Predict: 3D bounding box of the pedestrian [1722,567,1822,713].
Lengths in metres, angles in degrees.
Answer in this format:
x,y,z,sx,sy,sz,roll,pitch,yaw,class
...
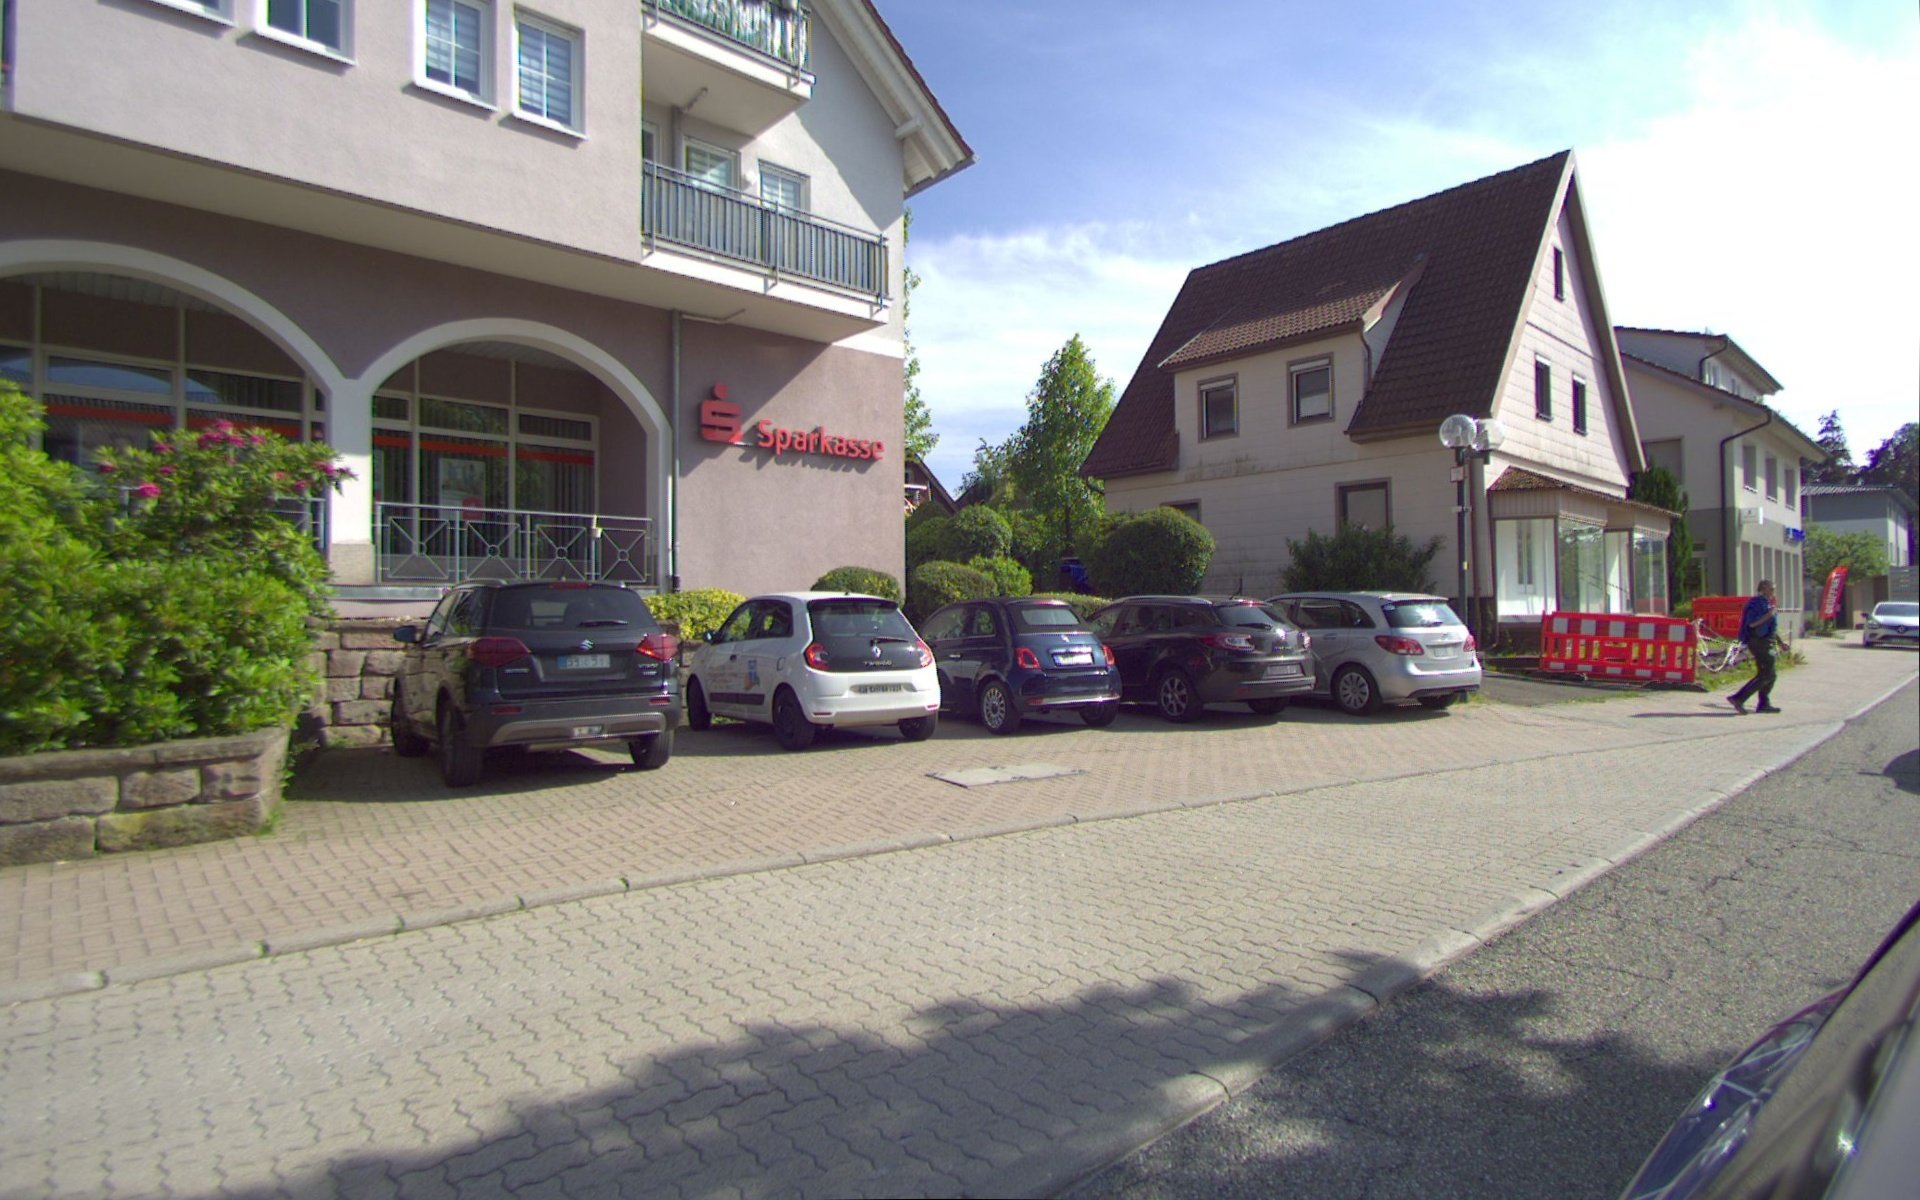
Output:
x,y,z,sx,sy,sz,roll,pitch,yaw,class
10.557,0.486,13.156,0.961,1.807,0.801,0,0,-38,pedestrian

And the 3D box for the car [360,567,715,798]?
x,y,z,sx,sy,sz,roll,pitch,yaw,class
-3.928,0.513,9.011,1.847,1.567,3.996,0,1,-39,car

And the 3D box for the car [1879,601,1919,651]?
x,y,z,sx,sy,sz,roll,pitch,yaw,class
29.517,0.767,31.260,1.634,1.437,3.875,1,1,42,car

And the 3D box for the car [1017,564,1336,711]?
x,y,z,sx,sy,sz,roll,pitch,yaw,class
2.577,0.447,12.997,1.703,1.569,4.002,0,-2,-31,car

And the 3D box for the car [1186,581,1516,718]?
x,y,z,sx,sy,sz,roll,pitch,yaw,class
5.147,0.574,13.827,1.923,1.578,3.879,1,0,-29,car

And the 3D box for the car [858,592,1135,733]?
x,y,z,sx,sy,sz,roll,pitch,yaw,class
0.302,0.666,12.280,1.552,1.436,3.570,1,-1,-35,car

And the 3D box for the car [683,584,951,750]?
x,y,z,sx,sy,sz,roll,pitch,yaw,class
-1.672,0.587,10.997,1.597,1.487,3.245,1,1,-34,car

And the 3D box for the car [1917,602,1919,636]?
x,y,z,sx,sy,sz,roll,pitch,yaw,class
42.801,0.832,43.674,3.569,1.441,1.764,0,1,-40,car
